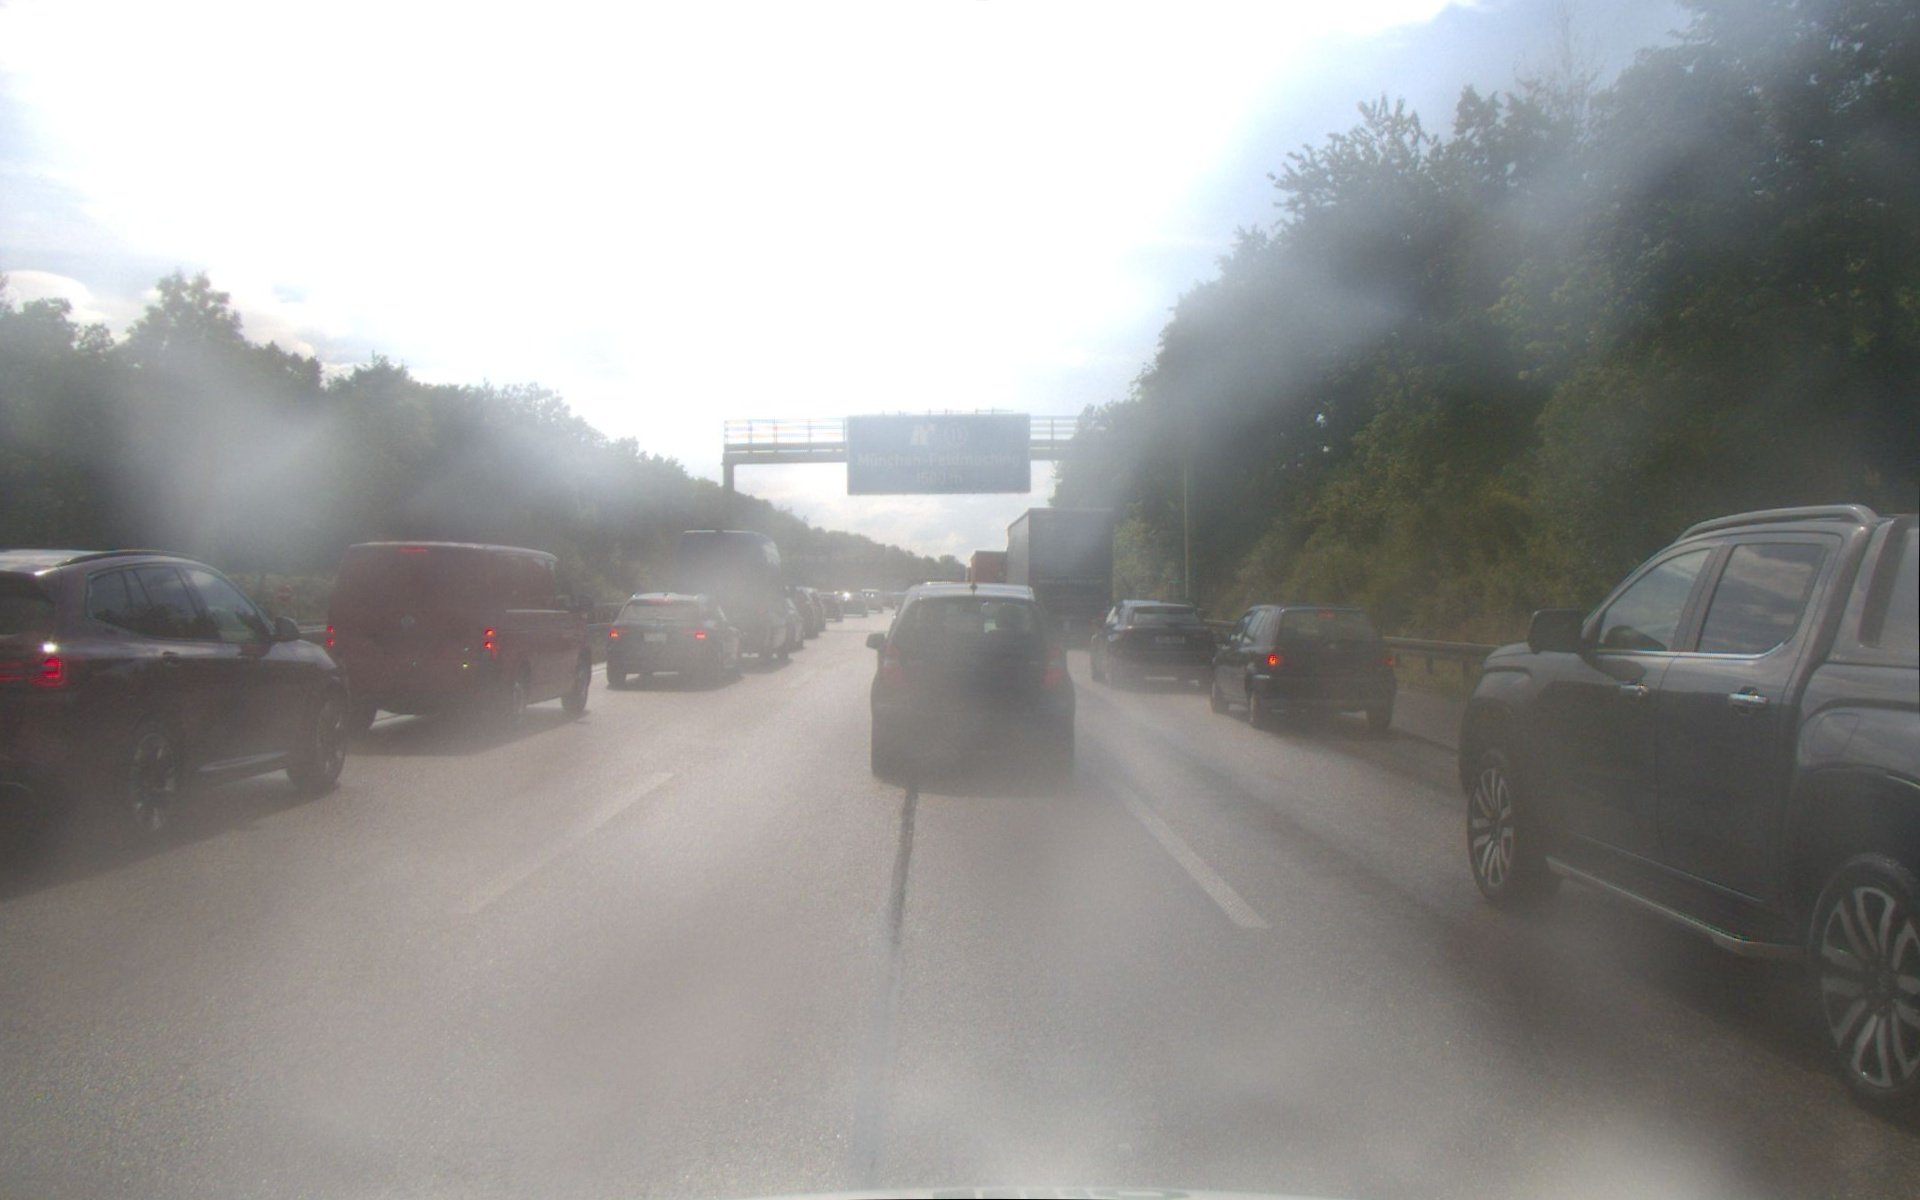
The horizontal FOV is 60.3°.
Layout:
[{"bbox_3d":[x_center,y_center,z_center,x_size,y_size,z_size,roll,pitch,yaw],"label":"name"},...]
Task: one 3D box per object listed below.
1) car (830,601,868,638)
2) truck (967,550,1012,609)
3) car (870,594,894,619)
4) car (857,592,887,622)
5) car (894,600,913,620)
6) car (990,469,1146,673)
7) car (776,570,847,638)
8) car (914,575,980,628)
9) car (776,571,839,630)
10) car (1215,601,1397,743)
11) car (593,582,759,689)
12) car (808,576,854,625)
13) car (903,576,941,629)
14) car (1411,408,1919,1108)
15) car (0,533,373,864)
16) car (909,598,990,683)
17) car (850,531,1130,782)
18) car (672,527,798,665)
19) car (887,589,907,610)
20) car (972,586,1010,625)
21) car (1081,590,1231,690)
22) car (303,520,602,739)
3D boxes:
[{"bbox_3d":[-6.732,1.168,100.666,1.953,2.152,4.888,1,0,-1],"label":"car"},{"bbox_3d":[1.894,-1.307,107.935,2.719,3.695,5.915,1,0,-1],"label":"truck"},{"bbox_3d":[-6.921,0.555,147.749,1.953,2.152,4.888,1,0,-1],"label":"car"},{"bbox_3d":[-6.401,0.507,121.218,1.953,2.152,4.888,1,0,-1],"label":"car"},{"bbox_3d":[-6.428,1.138,188.690,1.953,2.152,4.888,1,0,-1],"label":"car"},{"bbox_3d":[3.320,-0.822,56.960,4.313,5.932,16.818,1,0,0],"label":"car"},{"bbox_3d":[-4.913,0.131,55.263,1.953,2.152,4.888,1,0,-1],"label":"car"},{"bbox_3d":[-0.443,0.041,51.233,1.828,1.542,3.973,1,0,-3],"label":"car"},{"bbox_3d":[-5.816,0.030,63.571,1.953,2.152,4.888,1,0,-1],"label":"car"},{"bbox_3d":[4.123,0.800,20.229,1.557,1.542,3.977,1,0,3],"label":"car"},{"bbox_3d":[-4.593,0.544,27.443,1.953,1.592,4.755,1,0,-1],"label":"car"},{"bbox_3d":[-6.572,0.024,84.888,1.953,2.427,5.258,1,0,-1],"label":"car"},{"bbox_3d":[-2.066,0.123,91.115,1.953,2.794,5.258,1,0,-1],"label":"car"},{"bbox_3d":[3.578,0.459,6.487,1.902,1.952,5.650,1,0,-2],"label":"car"},{"bbox_3d":[-5.448,0.509,10.613,1.870,1.665,4.614,0,0,-2],"label":"car"},{"bbox_3d":[-0.292,0.896,38.035,1.659,1.836,3.973,1,0,-3],"label":"car"},{"bbox_3d":[0.137,0.467,15.713,2.229,1.989,4.818,1,0,-3],"label":"car"},{"bbox_3d":[-4.636,-0.070,34.872,1.953,2.661,5.258,1,0,-1],"label":"car"},{"bbox_3d":[-6.486,-0.026,170.371,1.953,2.152,4.888,1,0,-1],"label":"car"},{"bbox_3d":[1.749,0.327,94.221,1.953,2.152,4.888,1,0,-1],"label":"car"},{"bbox_3d":[3.200,0.633,27.760,1.828,1.542,3.973,1,0,-3],"label":"car"},{"bbox_3d":[-5.432,0.294,18.415,1.939,2.090,4.754,1,0,-2],"label":"car"}]
